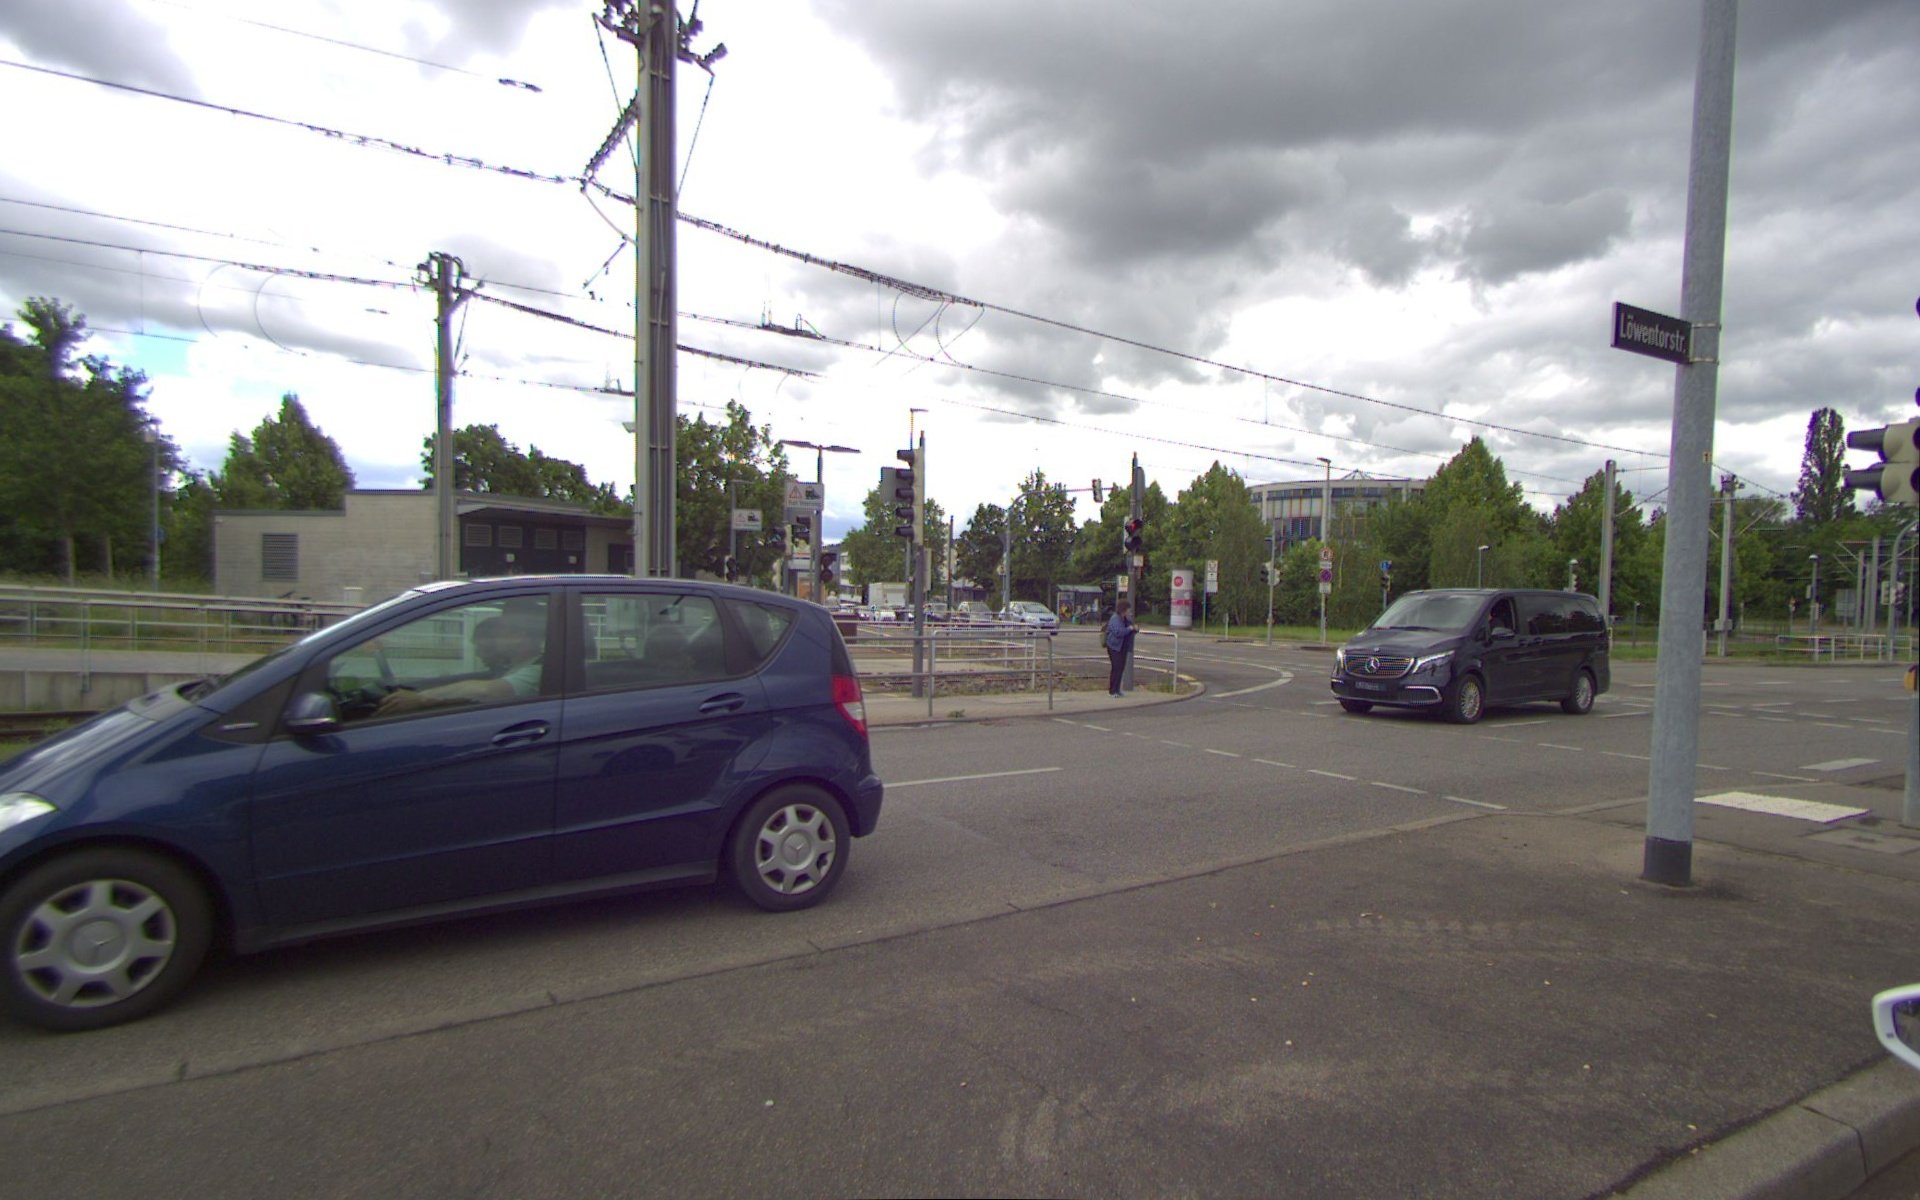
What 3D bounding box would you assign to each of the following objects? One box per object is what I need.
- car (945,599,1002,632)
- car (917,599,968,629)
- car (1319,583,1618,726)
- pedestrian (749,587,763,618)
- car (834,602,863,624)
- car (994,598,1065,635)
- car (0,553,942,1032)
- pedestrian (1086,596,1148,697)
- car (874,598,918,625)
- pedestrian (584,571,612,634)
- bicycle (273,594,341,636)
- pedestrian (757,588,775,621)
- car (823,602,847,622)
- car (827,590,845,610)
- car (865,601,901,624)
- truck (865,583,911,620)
[{"bbox_3d":[0.668,0.795,53.865,1.776,1.617,3.982,2,0,-20],"label":"car"},{"bbox_3d":[-1.062,0.762,58.038,1.776,1.617,3.982,2,0,-20],"label":"car"},{"bbox_3d":[7.768,0.755,15.142,5.041,1.836,1.875,1,-1,-35],"label":"car"},{"bbox_3d":[-10.539,0.144,51.899,0.633,1.557,0.521,2,0,-2],"label":"pedestrian"},{"bbox_3d":[-9.662,1.135,86.798,1.869,1.805,3.988,1,0,-14],"label":"car"},{"bbox_3d":[3.199,0.734,46.898,1.848,1.617,3.982,2,0,-20],"label":"car"},{"bbox_3d":[-2.080,0.626,4.833,3.619,1.529,1.726,1,0,-32],"label":"car"},{"bbox_3d":[2.507,0.733,16.034,0.712,1.557,0.630,2,0,-33],"label":"pedestrian"},{"bbox_3d":[-4.149,0.698,64.575,1.776,1.617,3.982,2,0,-20],"label":"car"},{"bbox_3d":[-10.361,0.065,28.764,0.700,1.751,0.674,2,0,-19],"label":"pedestrian"},{"bbox_3d":[-17.364,0.397,26.705,1.778,1.045,0.536,2,0,21],"label":"bicycle"},{"bbox_3d":[-8.293,0.181,42.857,0.590,1.377,0.616,2,0,3],"label":"pedestrian"},{"bbox_3d":[-12.107,1.116,96.993,1.869,1.805,3.990,1,0,-13],"label":"car"},{"bbox_3d":[-14.611,0.008,118.106,1.964,2.218,5.800,1,0,-9],"label":"car"},{"bbox_3d":[-5.764,0.926,74.898,1.775,1.617,3.985,2,0,-17],"label":"car"},{"bbox_3d":[-7.562,0.133,104.000,2.966,3.580,9.254,1,0,-15],"label":"truck"}]
